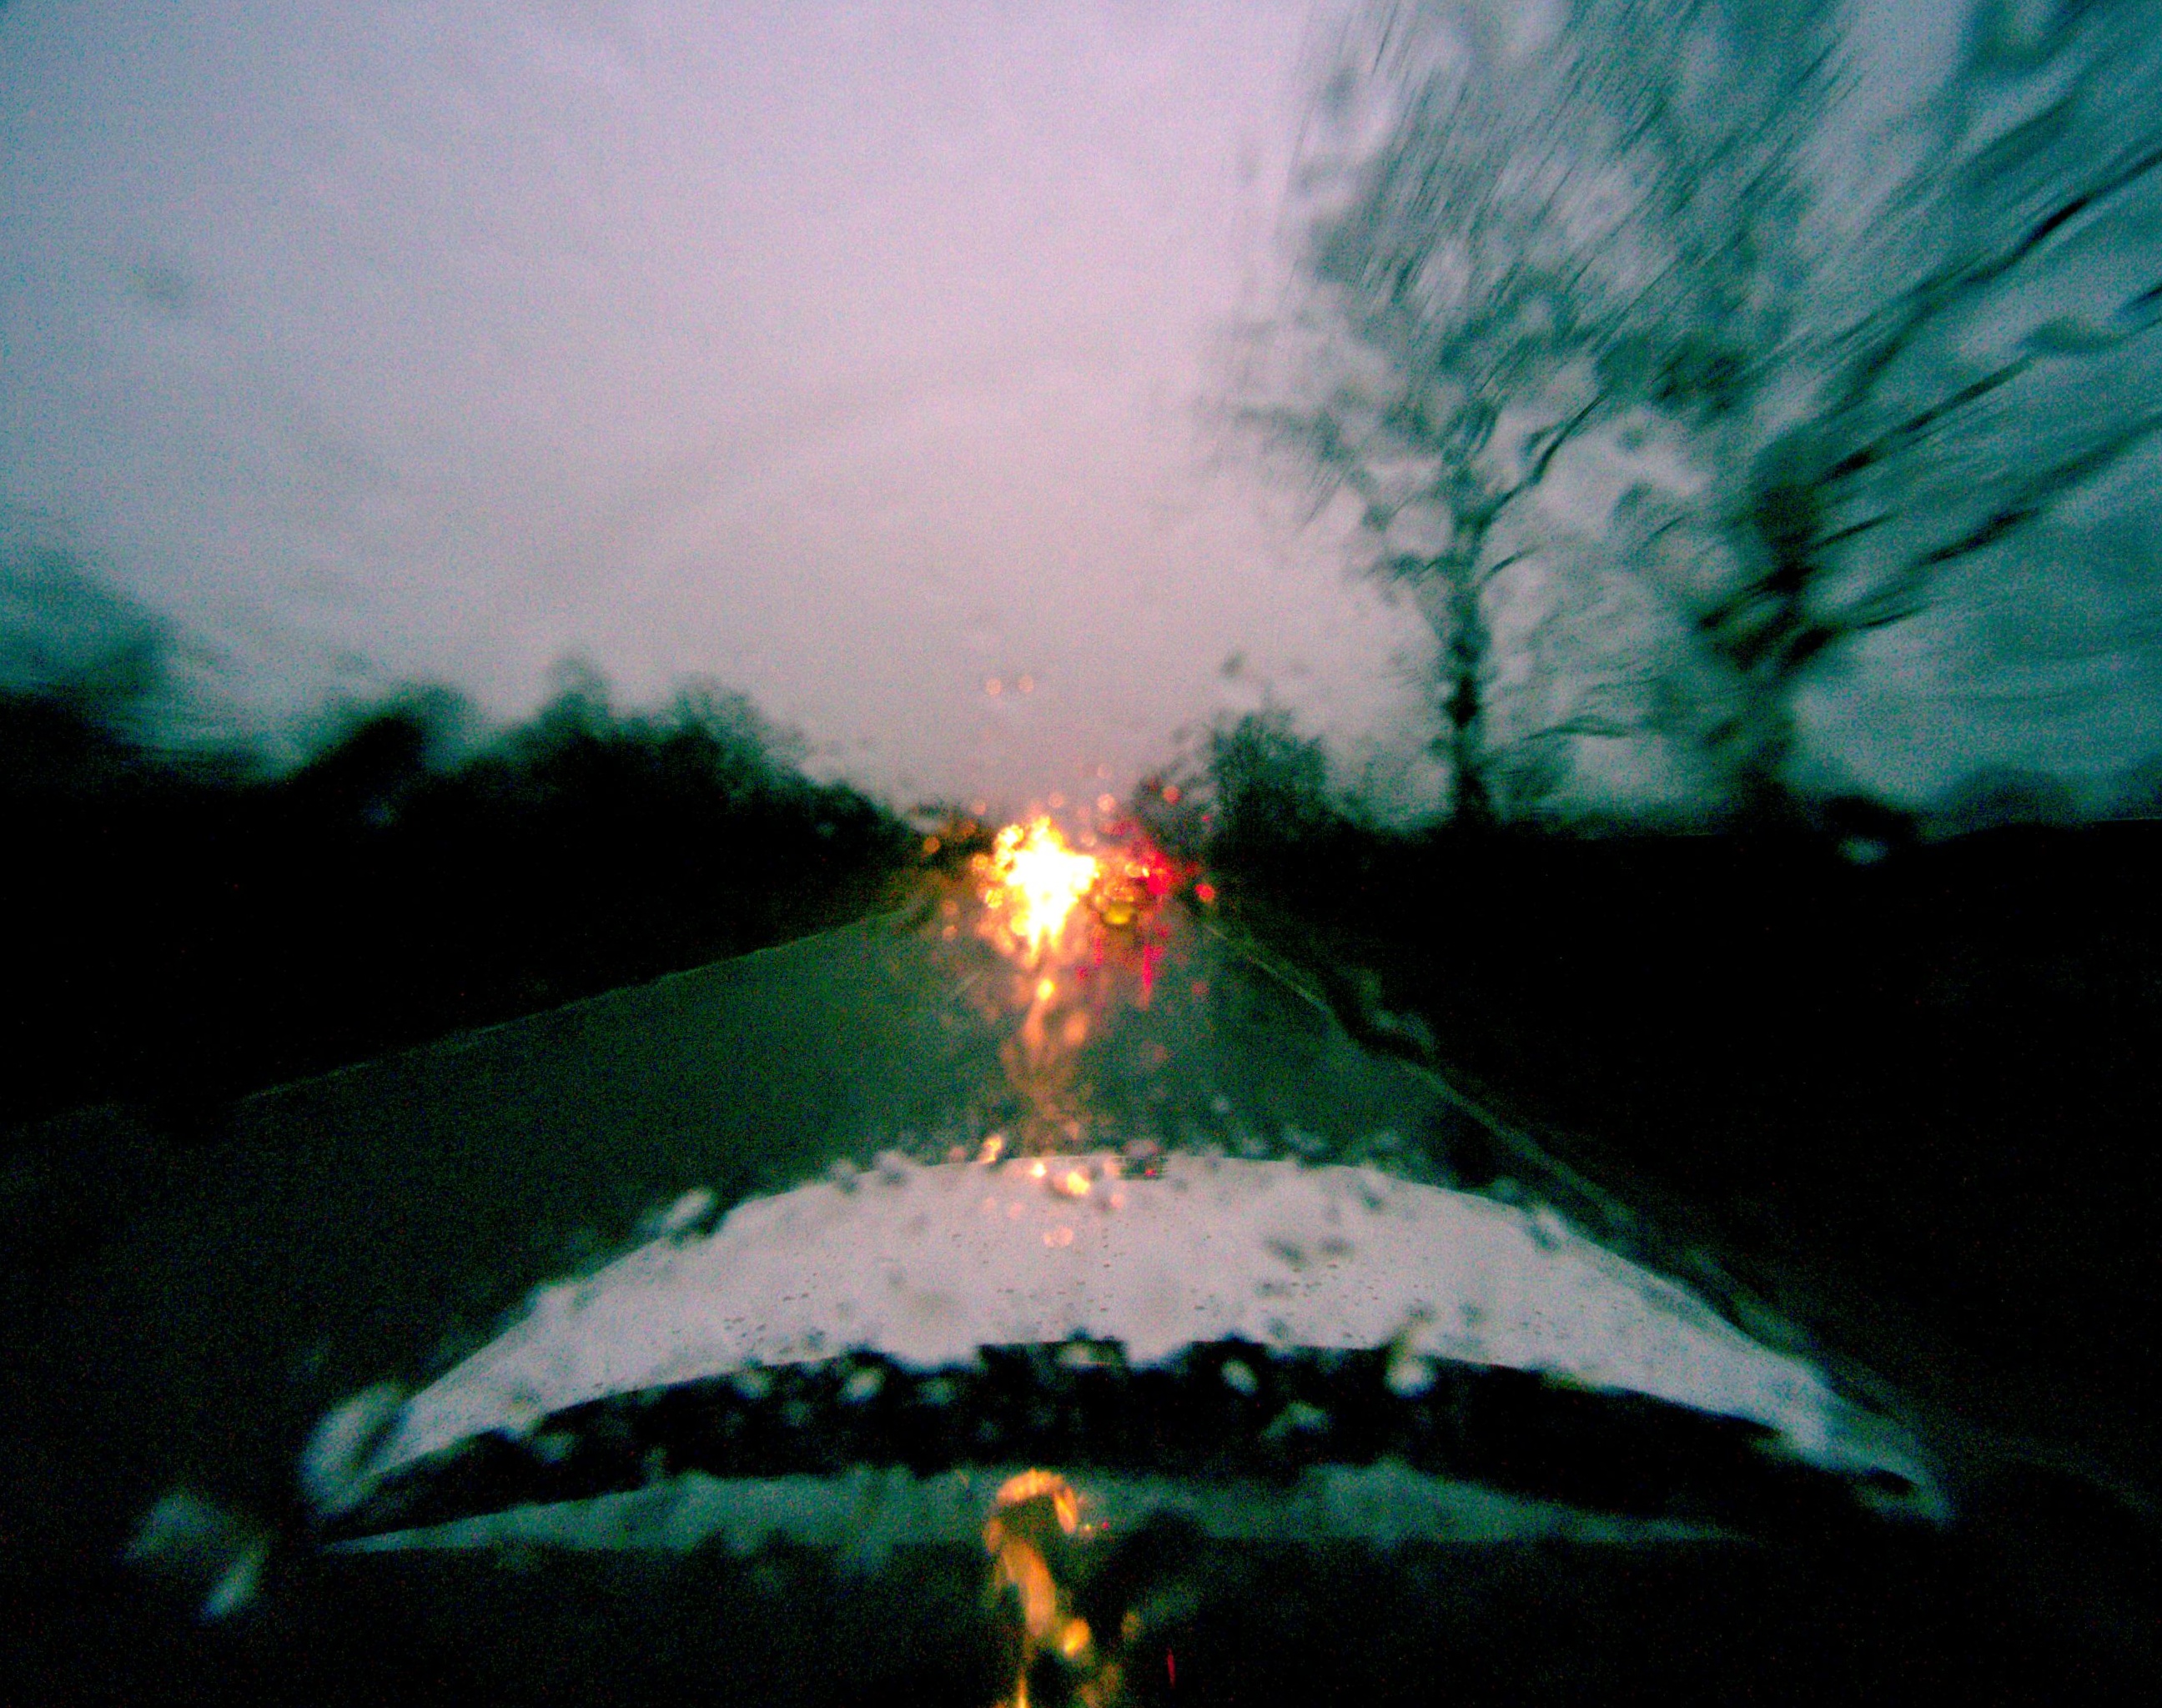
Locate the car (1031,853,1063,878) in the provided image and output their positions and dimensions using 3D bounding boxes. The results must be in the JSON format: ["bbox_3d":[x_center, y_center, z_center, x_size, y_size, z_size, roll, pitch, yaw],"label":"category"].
[{"bbox_3d":[-2.125,0.699,52.019,1.744,1.474,3.892,-1,0,2],"label":"car"}]

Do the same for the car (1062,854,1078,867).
[{"bbox_3d":[-1.280,0.760,96.252,1.819,1.498,4.095,-1,0,0],"label":"car"}]

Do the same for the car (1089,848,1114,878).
[{"bbox_3d":[1.355,0.540,53.034,1.568,1.875,3.712,0,0,3],"label":"car"}]

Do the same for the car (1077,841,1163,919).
[{"bbox_3d":[1.010,0.596,20.756,1.985,1.784,4.003,0,0,3],"label":"car"}]
